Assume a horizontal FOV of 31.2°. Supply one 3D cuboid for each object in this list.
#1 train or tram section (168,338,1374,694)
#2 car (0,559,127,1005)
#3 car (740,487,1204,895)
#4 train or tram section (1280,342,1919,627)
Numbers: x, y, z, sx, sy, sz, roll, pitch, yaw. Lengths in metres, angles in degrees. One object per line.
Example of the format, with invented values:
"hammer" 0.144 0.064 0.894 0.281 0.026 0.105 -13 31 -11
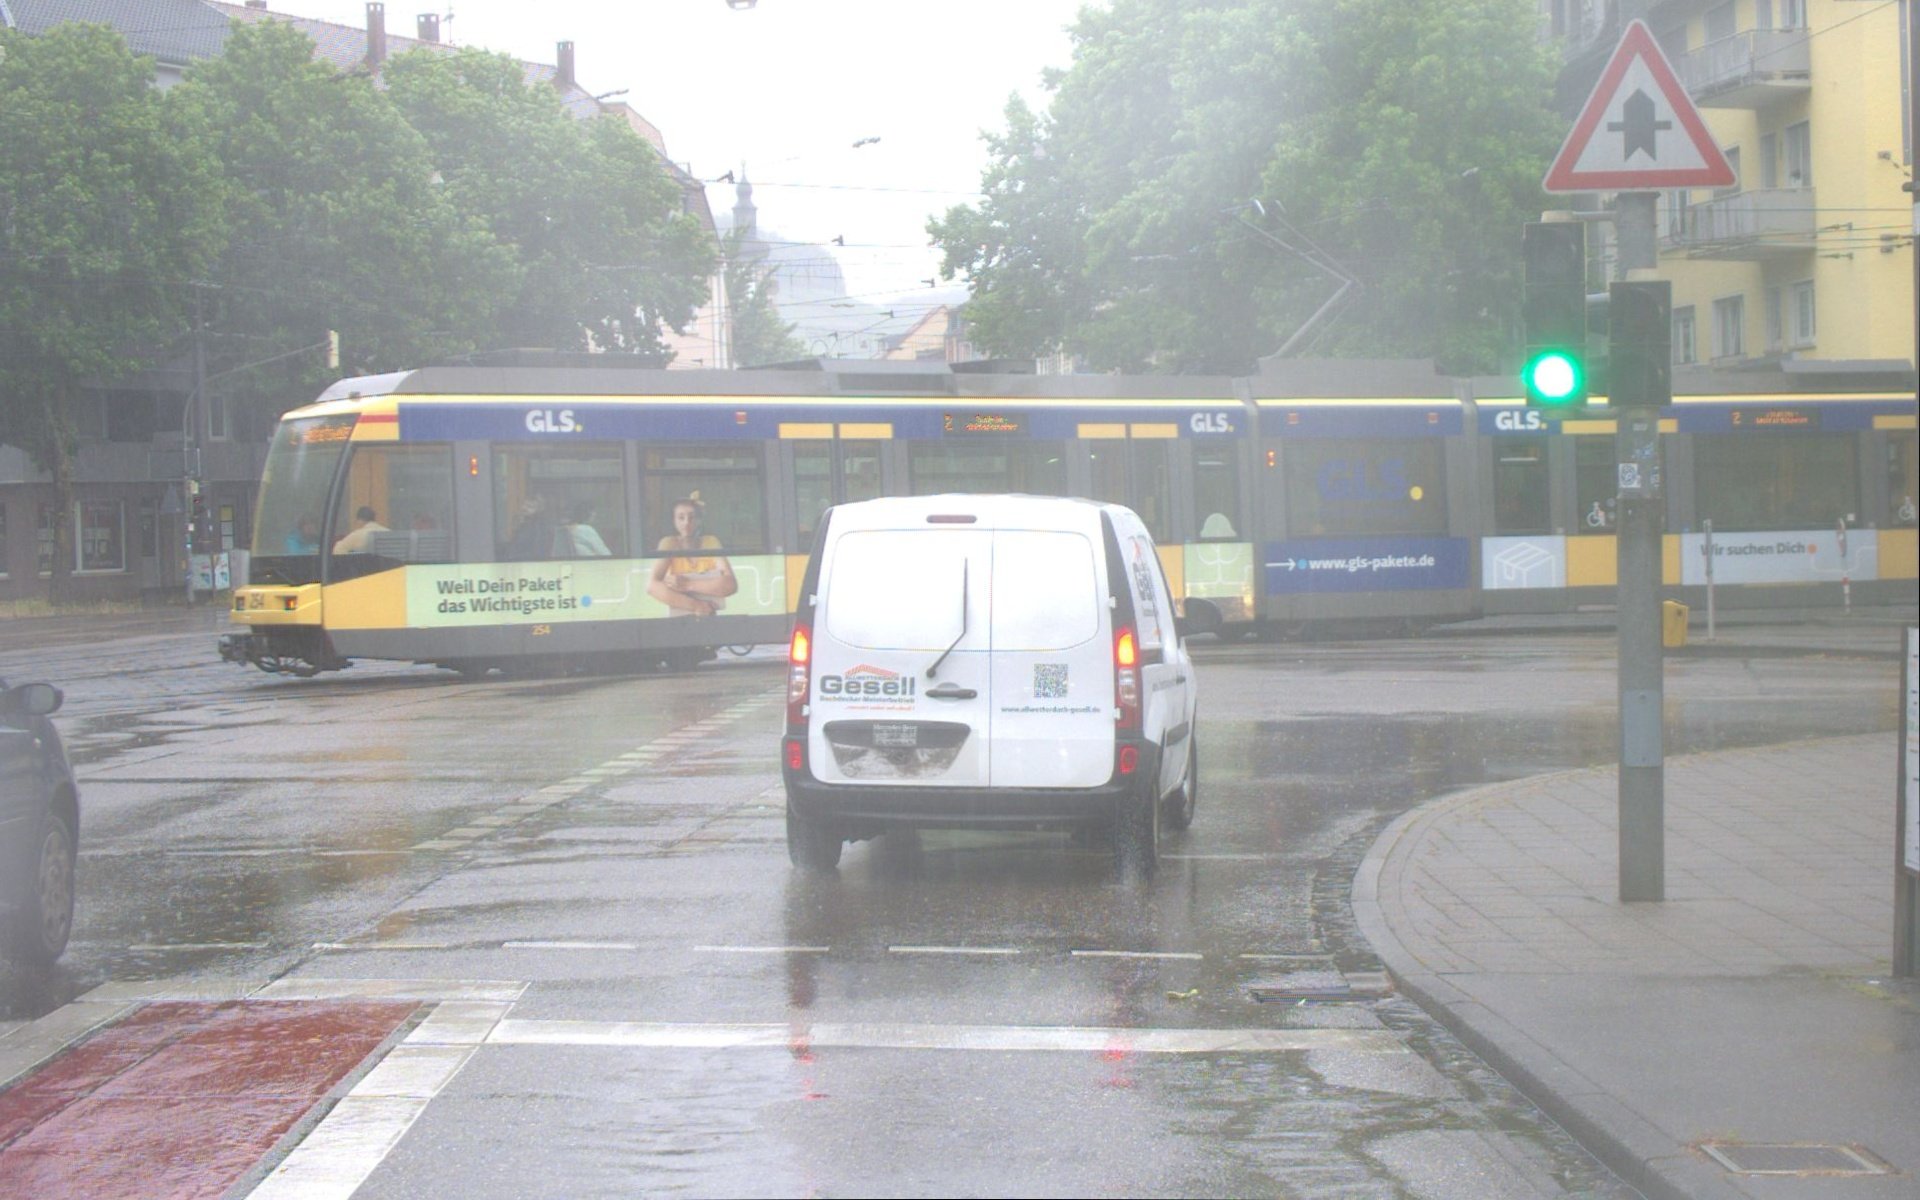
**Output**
"train or tram section" -1.652 -1.068 39.755 14.533 3.546 3.116 -2 3 -36
"car" -4.069 0.595 10.958 1.882 1.454 3.832 0 0 0
"car" 0.191 0.337 17.483 1.904 1.791 4.113 0 2 7
"train or tram section" 11.733 -1.577 45.541 14.623 3.546 3.117 -1 2 -10
